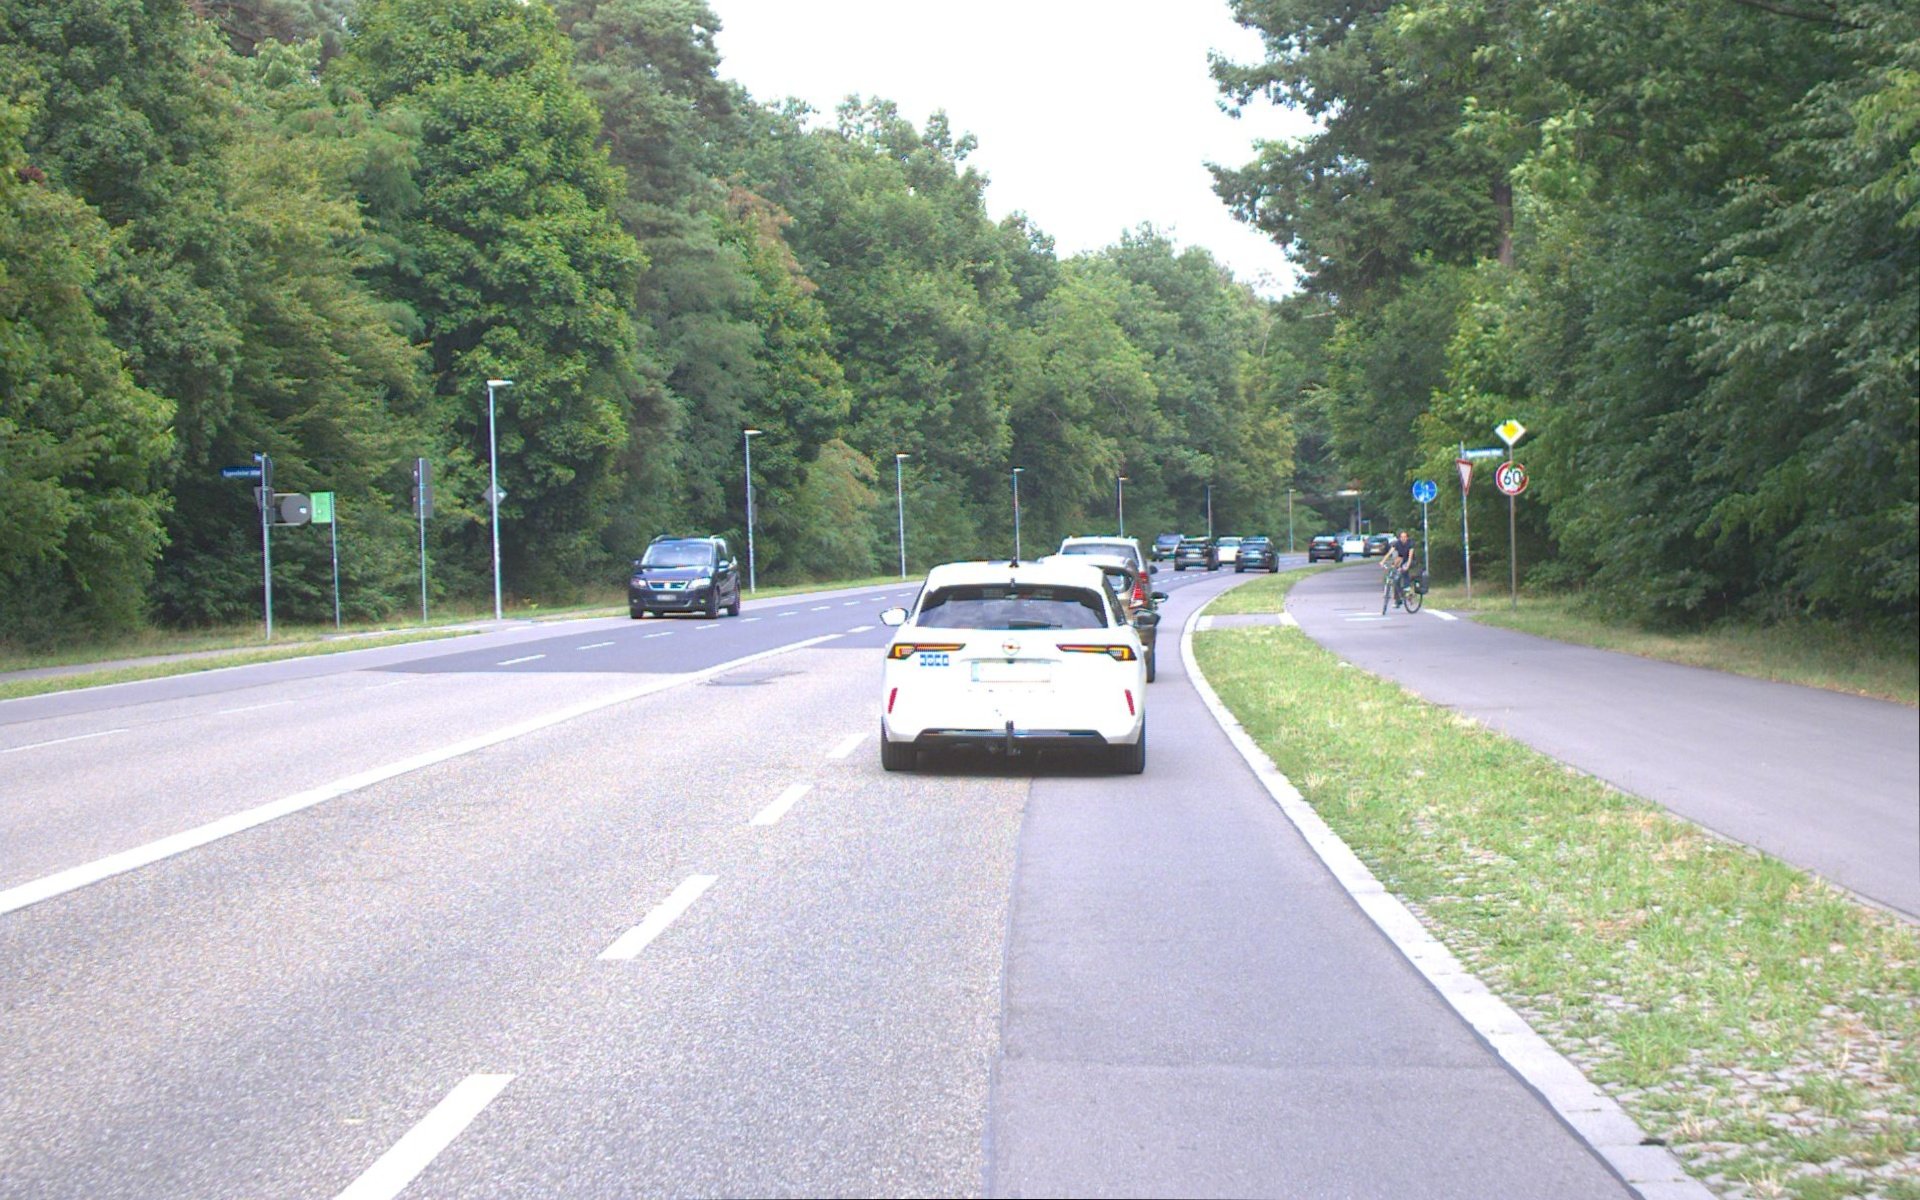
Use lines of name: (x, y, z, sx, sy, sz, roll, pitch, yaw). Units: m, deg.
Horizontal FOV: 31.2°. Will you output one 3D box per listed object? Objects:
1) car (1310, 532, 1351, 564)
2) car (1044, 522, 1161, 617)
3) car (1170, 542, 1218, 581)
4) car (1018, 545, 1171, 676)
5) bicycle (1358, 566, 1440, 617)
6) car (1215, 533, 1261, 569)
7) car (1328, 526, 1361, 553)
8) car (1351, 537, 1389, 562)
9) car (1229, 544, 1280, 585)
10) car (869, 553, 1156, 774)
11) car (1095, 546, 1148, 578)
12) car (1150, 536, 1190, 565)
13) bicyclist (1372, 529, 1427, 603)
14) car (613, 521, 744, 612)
car: (21.970, -3.060, 203.941, 1.994, 1.777, 3.998, 2, 0, 11)
car: (2.530, -0.535, 61.840, 1.993, 1.601, 4.000, 2, 0, 1)
car: (11.147, -1.826, 163.840, 1.994, 1.777, 3.999, 2, 0, 7)
car: (1.627, 0.116, 40.424, 1.635, 1.415, 3.999, 2, 0, 4)
bicycle: (8.804, -0.179, 68.824, 0.710, 0.991, 2.177, 0, 1, 34)
car: (14.677, -2.565, 181.503, 1.994, 1.777, 3.998, 2, 0, 10)
car: (27.719, -4.323, 247.680, 1.889, 1.809, 3.998, 2, 0, 13)
car: (27.931, -3.457, 233.997, 1.995, 1.700, 3.997, 0, 1, 15)
car: (13.484, -1.614, 157.429, 1.994, 1.777, 3.998, 2, 0, 9)
car: (0.387, 0.393, 24.293, 1.836, 1.405, 4.490, 0, 0, 1)
car: (7.631, -1.789, 161.906, 1.994, 1.430, 4.719, 1, 0, 9)
car: (12.773, -3.007, 208.745, 1.994, 1.611, 4.662, 2, 0, 8)
bicyclist: (8.794, -0.674, 68.808, 0.710, 1.465, 0.899, 0, 1, 40)
car: (-5.853, -0.681, 72.101, 1.994, 1.785, 4.747, 2, 0, 4)
